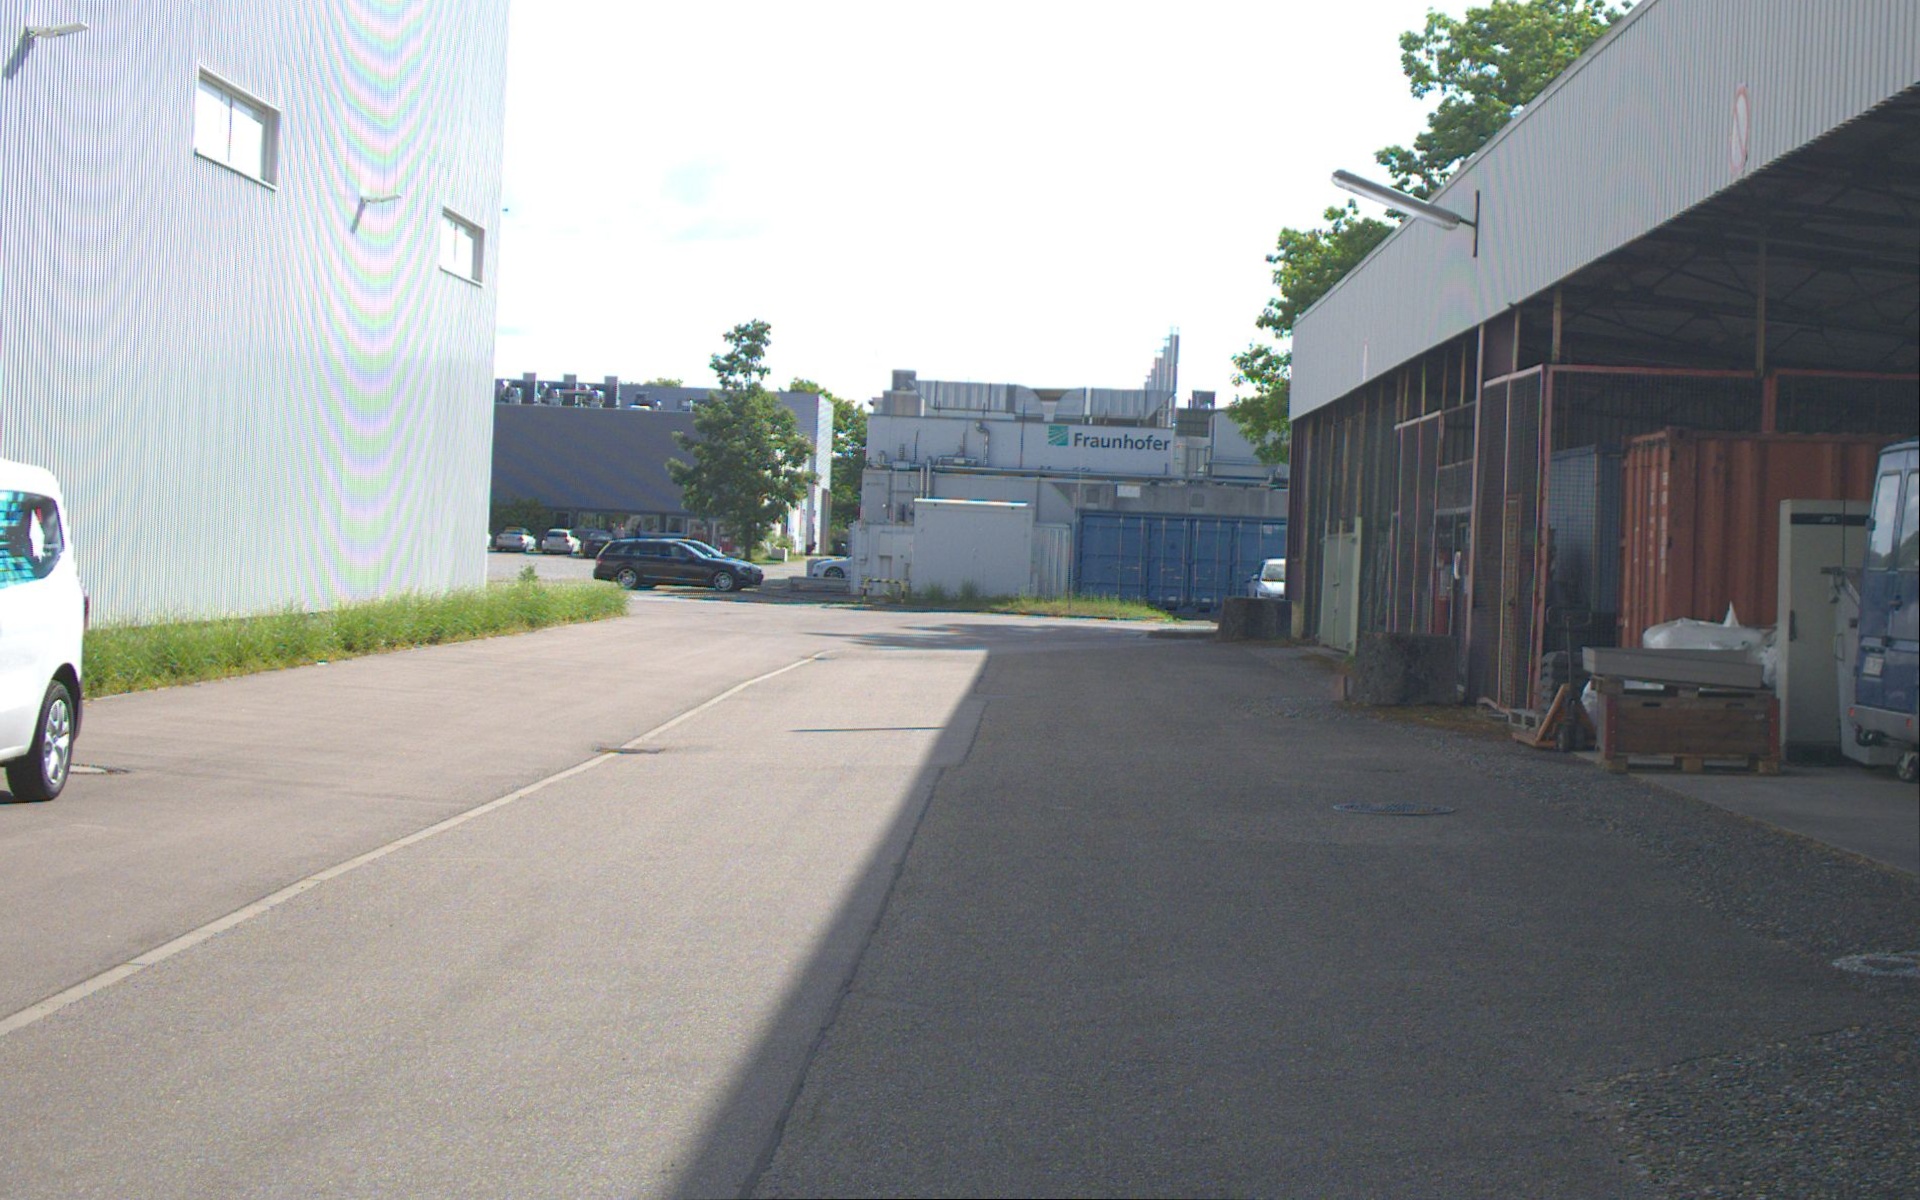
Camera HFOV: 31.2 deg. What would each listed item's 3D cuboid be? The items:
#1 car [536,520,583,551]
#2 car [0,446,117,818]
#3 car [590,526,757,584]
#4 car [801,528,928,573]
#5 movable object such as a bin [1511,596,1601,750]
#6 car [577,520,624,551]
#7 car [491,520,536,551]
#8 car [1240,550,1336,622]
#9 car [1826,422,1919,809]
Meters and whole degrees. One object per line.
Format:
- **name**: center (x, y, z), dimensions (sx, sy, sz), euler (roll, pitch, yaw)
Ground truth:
- **car**: center (-22.879, -3.668, 196.442), dimensions (2.193, 1.730, 4.000), euler (1, 1, 1)
- **car**: center (-5.649, 0.099, 16.651), dimensions (1.890, 1.839, 4.358), euler (4, 1, 1)
- **car**: center (-8.218, -1.295, 98.916), dimensions (4.526, 1.503, 1.909), euler (2, 1, 3)
- **car**: center (-3.494, -1.825, 126.397), dimensions (4.526, 1.503, 1.909), euler (2, 1, 2)
- **movable object such as a bin**: center (4.725, 0.565, 27.305), dimensions (0.582, 1.160, 1.238), euler (1, 1, 5)
- **car**: center (-20.358, -3.651, 194.665), dimensions (2.193, 1.730, 4.000), euler (1, 1, 1)
- **car**: center (-25.472, -3.666, 196.165), dimensions (1.993, 1.730, 4.000), euler (1, 1, 1)
- **car**: center (8.149, -0.369, 85.740), dimensions (1.993, 1.580, 4.173), euler (2, 2, 1)
- **car**: center (8.192, 0.160, 21.527), dimensions (4.979, 2.317, 2.000), euler (2, 1, 2)
